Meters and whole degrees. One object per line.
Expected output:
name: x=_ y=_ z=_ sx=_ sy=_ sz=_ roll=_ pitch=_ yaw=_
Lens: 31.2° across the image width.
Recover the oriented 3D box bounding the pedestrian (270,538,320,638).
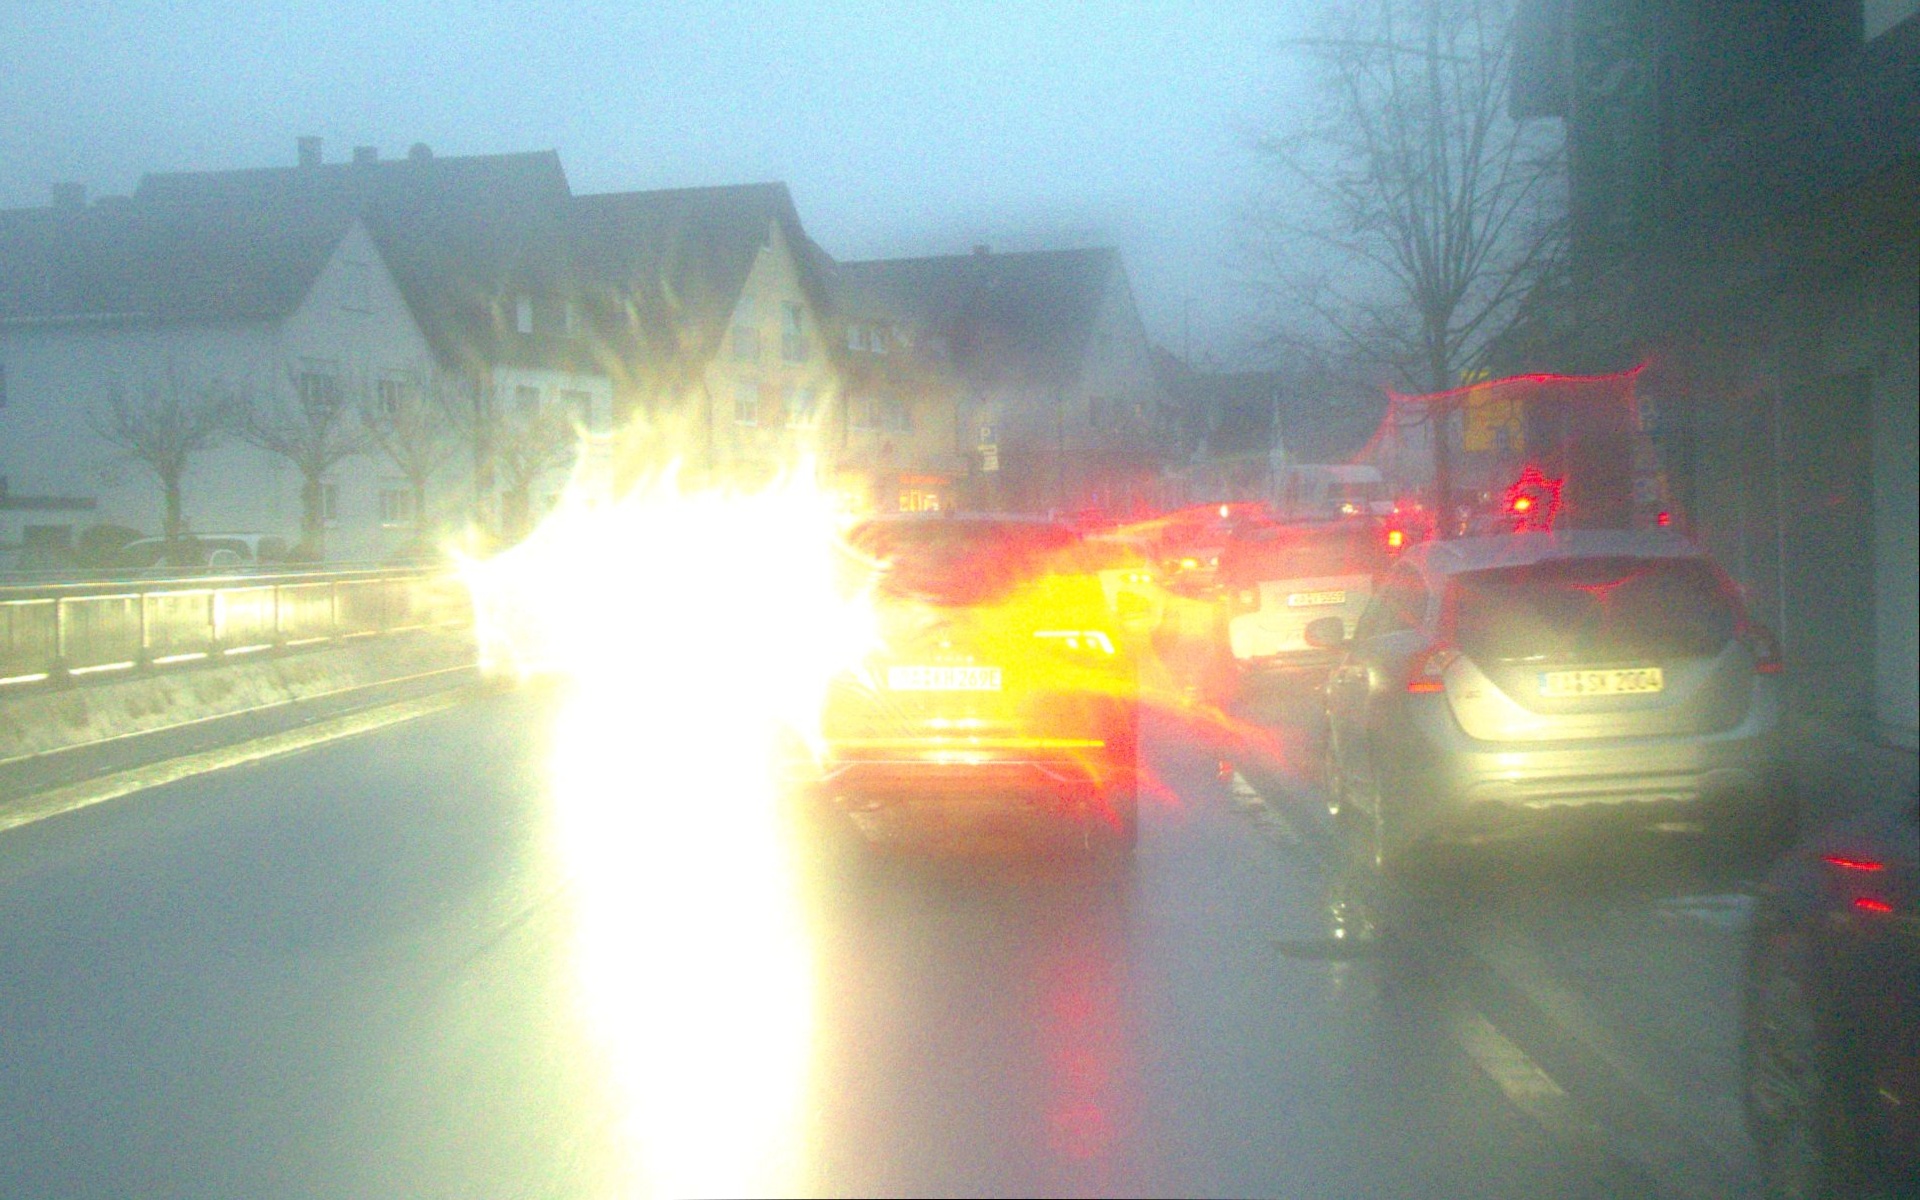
pedestrian: x=-11.317 y=-0.205 z=58.492 sx=0.664 sy=1.692 sz=0.541 roll=0 pitch=2 yaw=14

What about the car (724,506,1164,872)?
car: x=-0.052 y=0.342 z=17.528 sx=1.964 sy=1.589 sz=4.314 roll=0 pitch=2 yaw=1

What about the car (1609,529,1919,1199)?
car: x=2.575 y=0.671 z=5.511 sx=1.956 sy=1.527 sz=5.009 roll=1 pitch=1 yaw=-2

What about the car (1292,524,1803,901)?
car: x=2.611 y=0.421 z=16.197 sx=1.652 sy=1.450 sz=4.238 roll=-3 pitch=1 yaw=1

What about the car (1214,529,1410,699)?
car: x=3.267 y=0.096 z=32.288 sx=1.645 sy=1.410 sz=2.727 roll=-3 pitch=1 yaw=4

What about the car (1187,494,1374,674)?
car: x=3.603 y=-0.223 z=38.086 sx=1.770 sy=1.776 sz=3.999 roll=-4 pitch=1 yaw=8

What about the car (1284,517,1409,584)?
car: x=8.833 y=-1.144 z=78.373 sx=1.995 sy=1.387 sz=3.997 roll=-1 pitch=2 yaw=19

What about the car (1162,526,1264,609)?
car: x=4.677 y=-0.626 z=63.385 sx=1.814 sy=1.407 sz=4.000 roll=0 pitch=2 yaw=4

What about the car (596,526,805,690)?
car: x=-2.566 y=0.040 z=34.700 sx=1.732 sy=1.531 sz=3.781 roll=1 pitch=1 yaw=1

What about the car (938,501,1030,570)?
car: x=0.680 y=-1.908 z=100.771 sx=2.037 sy=1.919 sz=4.058 roll=-2 pitch=2 yaw=-9

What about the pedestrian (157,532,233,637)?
pedestrian: x=-13.122 y=-0.271 z=59.000 sx=0.928 sy=1.778 sz=0.973 roll=0 pitch=2 yaw=14

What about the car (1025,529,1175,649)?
car: x=1.777 y=-0.177 z=44.589 sx=1.682 sy=1.448 sz=4.000 roll=1 pitch=1 yaw=-1

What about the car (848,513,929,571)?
car: x=-2.146 y=-1.730 z=101.506 sx=1.821 sy=1.607 sz=4.058 roll=-2 pitch=2 yaw=-9
